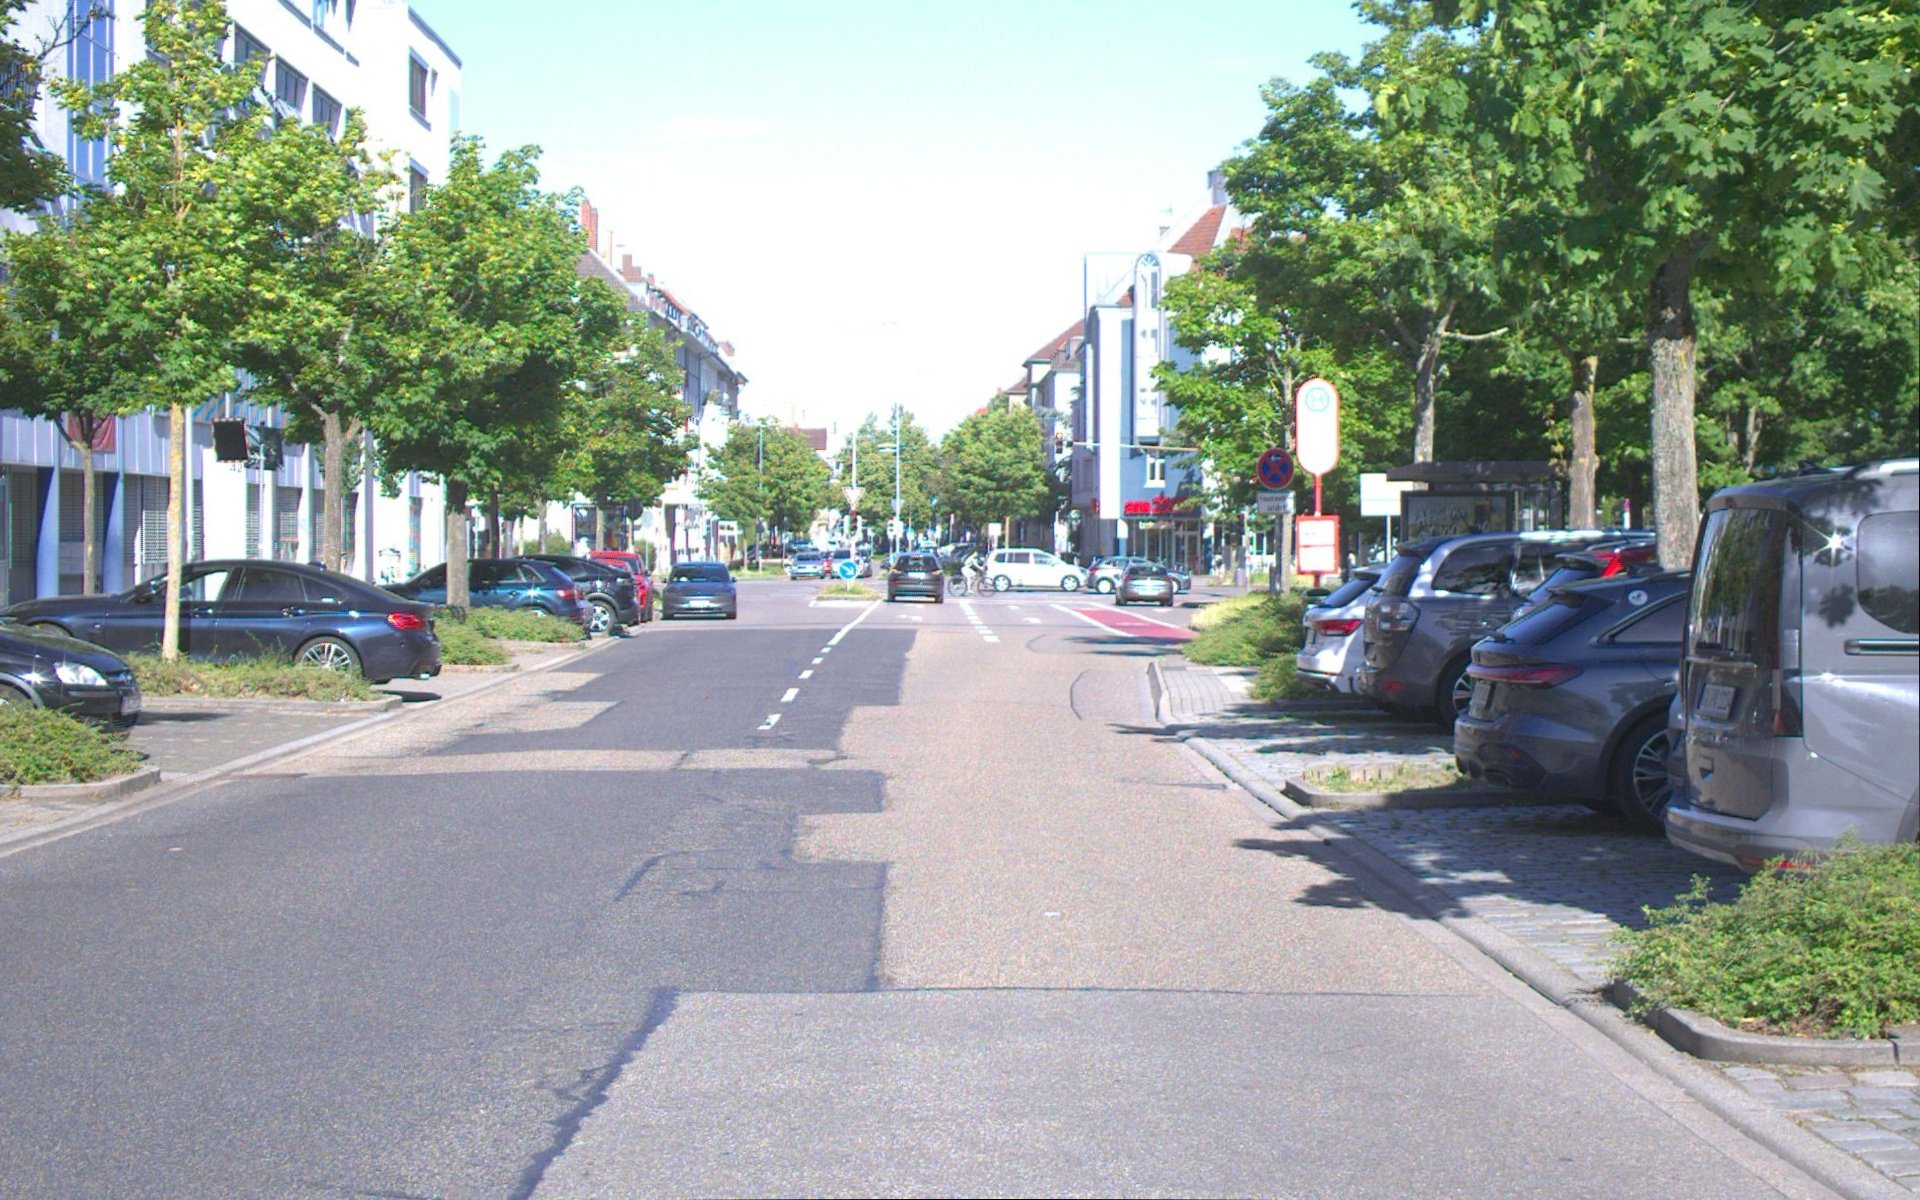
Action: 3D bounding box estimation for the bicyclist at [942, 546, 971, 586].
[{"bbox_3d":[-0.127,-1.272,126.579,1.024,1.439,0.911,0,2,1],"label":"bicyclist"}]

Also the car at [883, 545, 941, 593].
[{"bbox_3d":[-1.567,-1.024,113.220,1.812,1.469,4.111,0,2,0],"label":"car"}]

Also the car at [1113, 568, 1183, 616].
[{"bbox_3d":[6.405,-0.288,117.422,1.989,1.469,4.111,0,2,-3],"label":"car"}]

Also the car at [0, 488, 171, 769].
[{"bbox_3d":[-7.844,0.166,23.767,4.331,1.855,1.818,0,2,1],"label":"car"}]

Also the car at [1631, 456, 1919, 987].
[{"bbox_3d":[4.688,0.397,12.951,3.987,1.873,1.683,0,2,0],"label":"car"}]

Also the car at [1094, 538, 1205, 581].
[{"bbox_3d":[7.243,-1.569,131.332,3.986,1.556,2.001,0,2,-5],"label":"car"}]

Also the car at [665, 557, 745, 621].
[{"bbox_3d":[-6.389,-0.288,86.429,1.811,1.469,4.111,0,2,-2],"label":"car"}]

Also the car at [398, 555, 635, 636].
[{"bbox_3d":[-8.451,-0.100,65.772,4.331,1.469,1.818,0,2,-1],"label":"car"}]

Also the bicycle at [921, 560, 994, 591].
[{"bbox_3d":[-0.078,-0.920,126.597,2.680,1.108,0.911,0,2,2],"label":"bicycle"}]

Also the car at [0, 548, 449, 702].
[{"bbox_3d":[-7.471,0.233,35.082,4.330,1.469,1.818,0,2,-4],"label":"car"}]

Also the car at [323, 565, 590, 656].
[{"bbox_3d":[-8.604,0.166,59.031,4.331,1.469,1.818,0,2,-1],"label":"car"}]

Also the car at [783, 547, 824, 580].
[{"bbox_3d":[-8.335,-1.936,182.886,1.871,1.636,3.926,0,2,2],"label":"car"}]

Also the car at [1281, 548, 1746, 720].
[{"bbox_3d":[4.832,0.296,30.442,3.913,1.469,1.757,0,0,4],"label":"car"}]

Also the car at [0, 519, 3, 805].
[{"bbox_3d":[-7.692,0.392,19.175,4.261,1.660,1.599,0,2,-1],"label":"car"}]

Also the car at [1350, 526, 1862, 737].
[{"bbox_3d":[5.207,0.231,28.139,3.913,1.636,1.877,0,2,4],"label":"car"}]

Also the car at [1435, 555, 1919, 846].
[{"bbox_3d":[4.625,0.509,18.704,3.913,1.469,1.795,0,2,4],"label":"car"}]

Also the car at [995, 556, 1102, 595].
[{"bbox_3d":[3.468,-0.983,135.340,4.096,1.469,1.818,0,2,-1],"label":"car"}]
